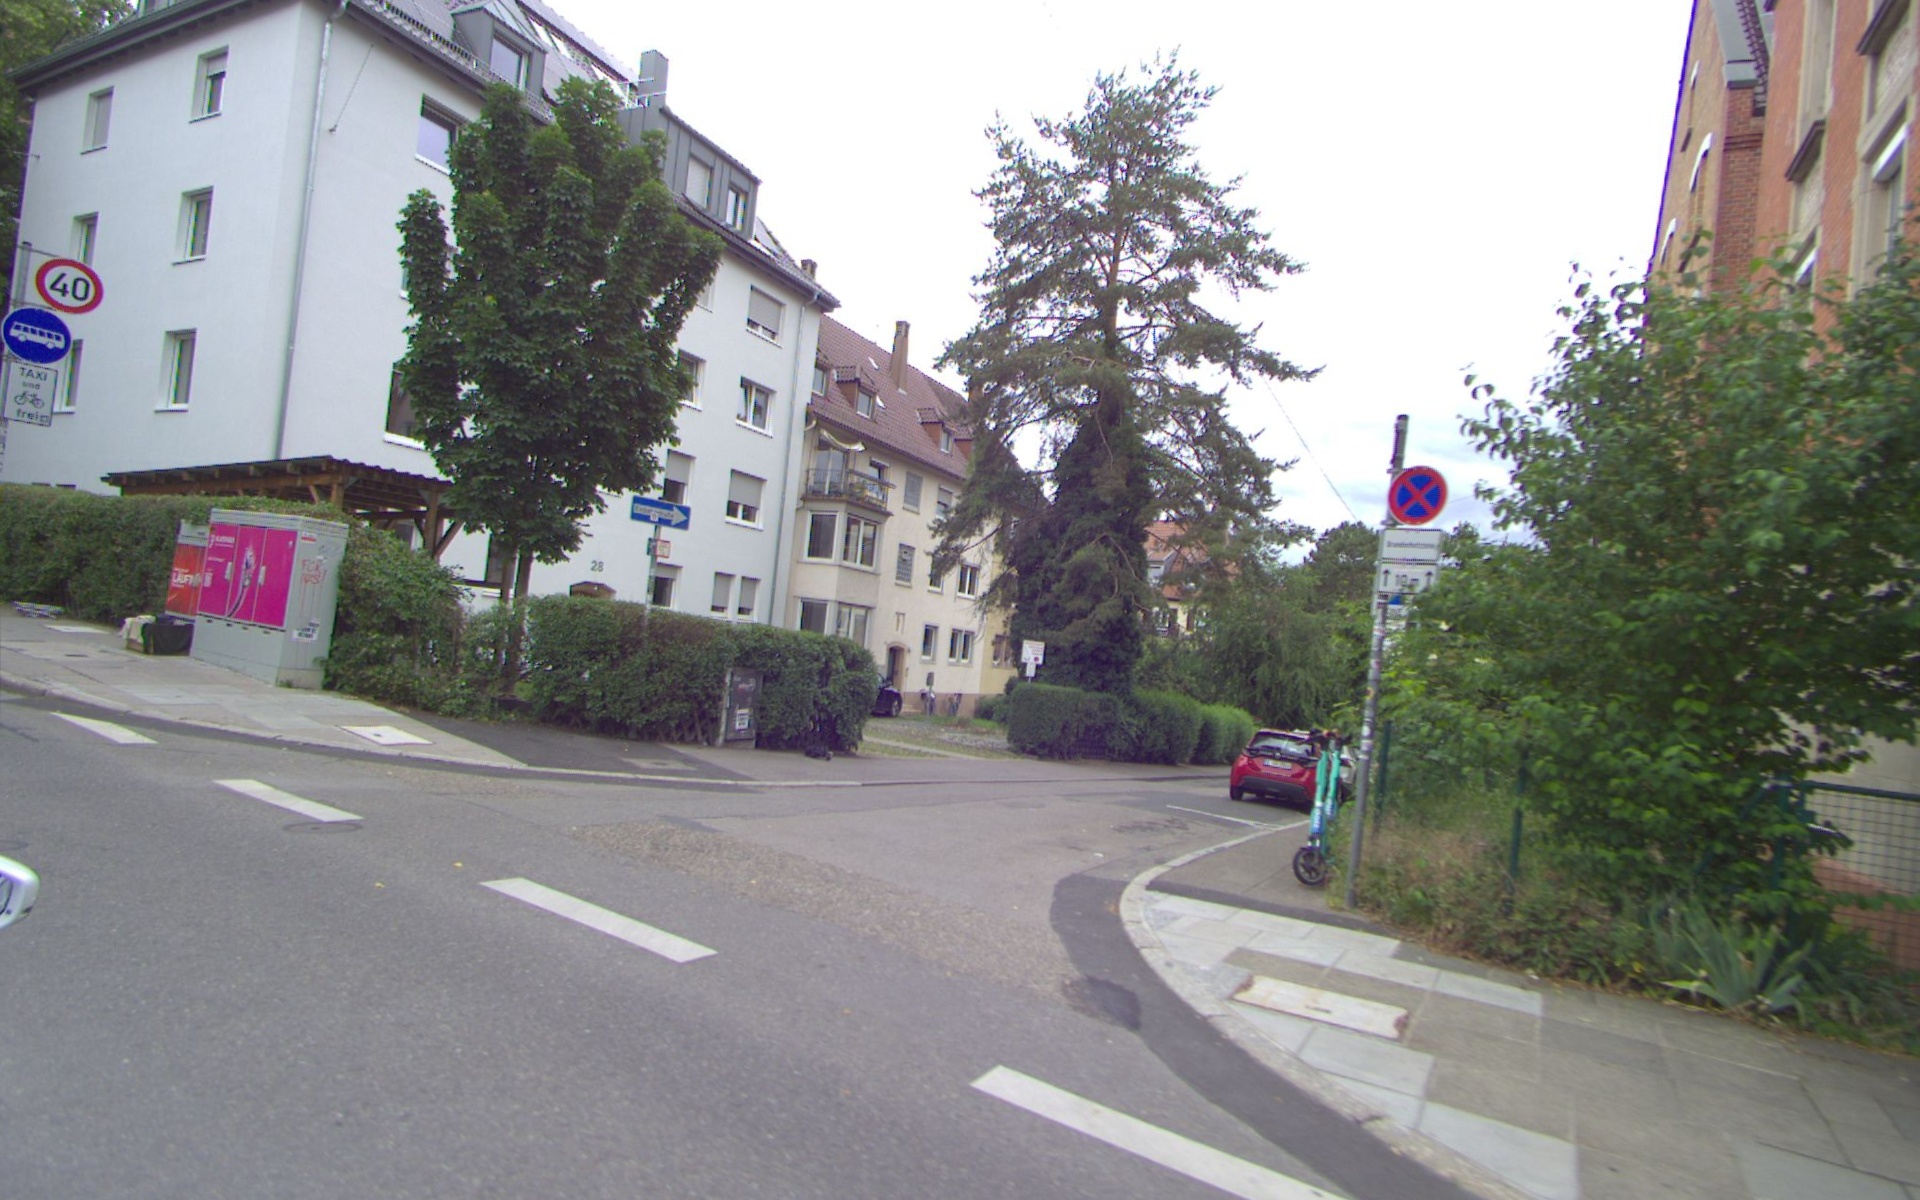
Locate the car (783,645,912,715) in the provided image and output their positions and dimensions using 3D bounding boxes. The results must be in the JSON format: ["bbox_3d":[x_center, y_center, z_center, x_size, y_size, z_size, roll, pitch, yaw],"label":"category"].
[{"bbox_3d":[-3.074,2.285,28.358,1.963,1.569,4.006,7,-3,19],"label":"car"}]

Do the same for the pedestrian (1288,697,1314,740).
[{"bbox_3d":[17.601,6.110,51.890,0.867,2.036,0.722,7,-2,33],"label":"pedestrian"}]

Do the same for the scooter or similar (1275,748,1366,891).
[{"bbox_3d":[3.026,1.783,8.380,0.408,1.027,1.238,6,-3,30],"label":"scooter or similar"}]

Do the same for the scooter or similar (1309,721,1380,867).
[{"bbox_3d":[3.761,1.878,9.800,0.408,1.283,1.090,4,-7,30],"label":"scooter or similar"}]

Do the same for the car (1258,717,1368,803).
[{"bbox_3d":[8.591,3.922,24.295,1.749,1.626,3.760,7,-6,29],"label":"car"}]

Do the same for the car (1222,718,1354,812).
[{"bbox_3d":[6.711,3.307,20.331,1.749,1.463,3.756,6,-5,29],"label":"car"}]

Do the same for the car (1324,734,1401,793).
[{"bbox_3d":[13.268,5.315,33.011,1.749,1.524,3.754,7,-3,29],"label":"car"}]
